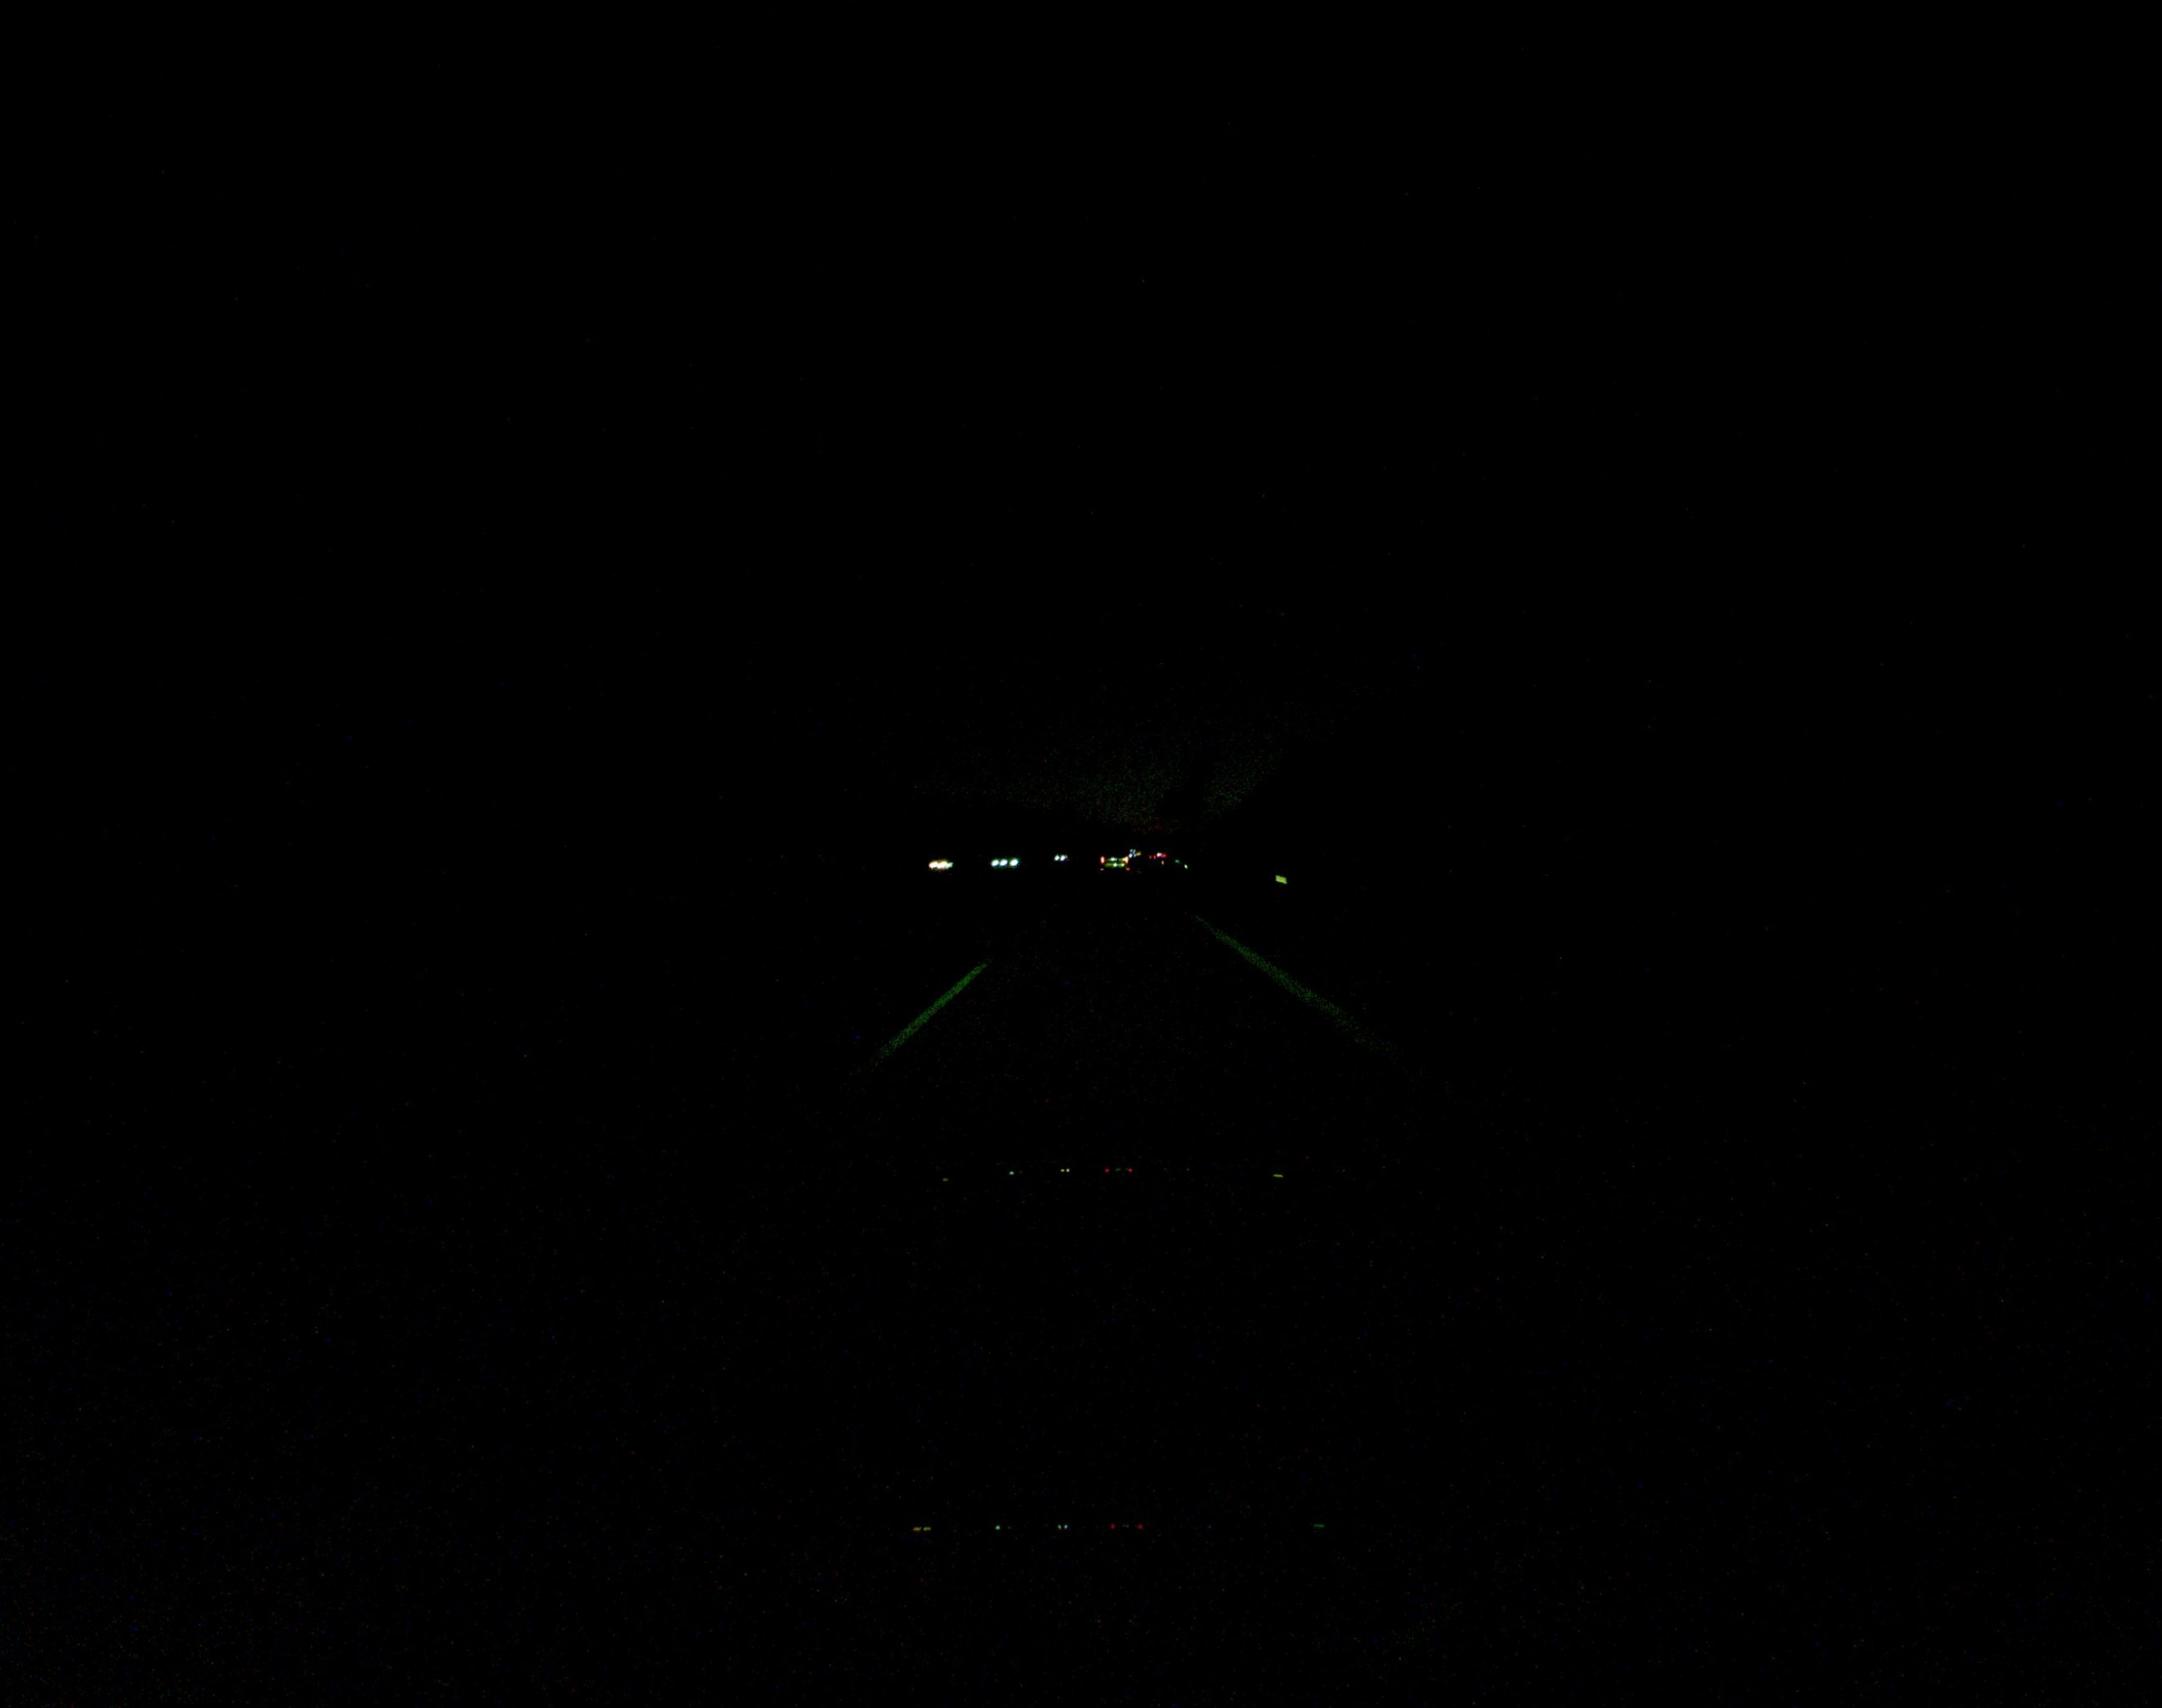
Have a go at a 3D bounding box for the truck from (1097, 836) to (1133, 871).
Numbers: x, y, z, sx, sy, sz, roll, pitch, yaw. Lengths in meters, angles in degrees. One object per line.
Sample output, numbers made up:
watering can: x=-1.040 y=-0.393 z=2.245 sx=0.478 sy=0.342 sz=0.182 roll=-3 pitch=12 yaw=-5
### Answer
truck: x=2.690 y=-0.012 z=65.217 sx=2.620 sy=2.624 sz=8.687 roll=-1 pitch=0 yaw=2

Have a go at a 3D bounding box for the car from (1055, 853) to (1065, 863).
car: x=-5.961 y=1.111 z=228.569 sx=2.072 sy=2.487 sz=6.251 roll=-1 pitch=0 yaw=5

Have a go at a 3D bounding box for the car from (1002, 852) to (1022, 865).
car: x=-9.406 y=0.609 z=110.923 sx=1.984 sy=1.791 sz=4.685 roll=-1 pitch=0 yaw=4

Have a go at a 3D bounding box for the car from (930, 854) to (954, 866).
car: x=-17.608 y=0.739 z=103.622 sx=1.985 sy=1.508 sz=4.405 roll=-1 pitch=0 yaw=4

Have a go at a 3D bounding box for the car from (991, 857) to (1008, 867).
car: x=-12.577 y=1.258 z=125.754 sx=1.986 sy=1.480 sz=4.932 roll=-1 pitch=0 yaw=2
